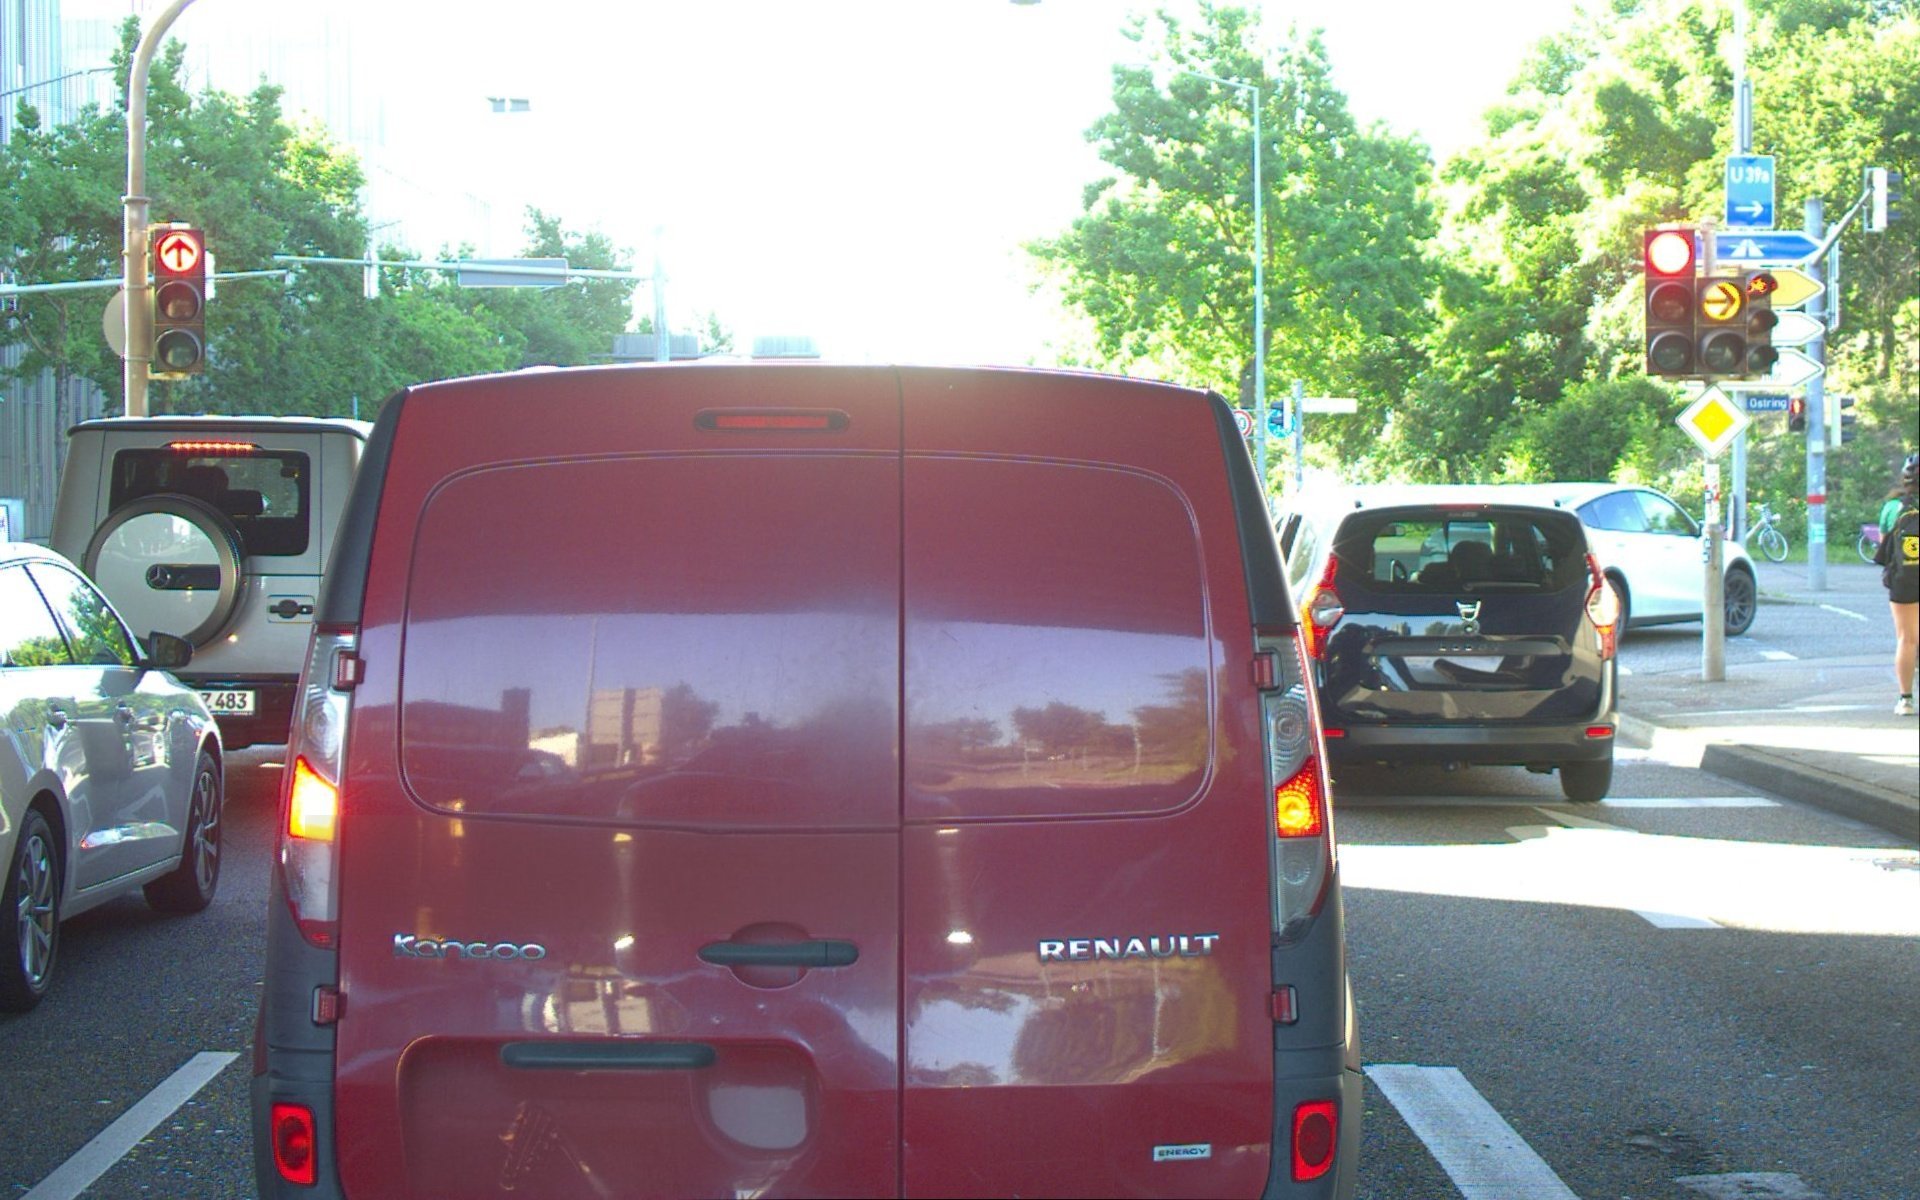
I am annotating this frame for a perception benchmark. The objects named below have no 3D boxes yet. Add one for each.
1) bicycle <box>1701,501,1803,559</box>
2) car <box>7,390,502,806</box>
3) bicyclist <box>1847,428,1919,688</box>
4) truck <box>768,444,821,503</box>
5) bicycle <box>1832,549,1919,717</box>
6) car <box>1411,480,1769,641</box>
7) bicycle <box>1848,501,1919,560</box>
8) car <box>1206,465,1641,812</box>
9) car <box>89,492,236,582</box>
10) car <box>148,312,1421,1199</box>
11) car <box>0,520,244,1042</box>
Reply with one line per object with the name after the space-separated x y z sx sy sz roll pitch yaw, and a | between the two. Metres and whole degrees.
14.356 -1.268 62.374 1.745 1.020 0.593 1 0 9 | bicycle
-3.707 -0.033 18.873 1.801 1.982 4.589 1 1 -1 | car
6.044 -0.263 21.751 0.591 1.608 0.942 1 0 -1 | bicyclist
-8.971 -6.874 187.378 2.409 3.016 6.657 -2 2 0 | truck
6.053 0.197 21.760 0.591 1.020 1.750 1 1 -1 | bicycle
6.505 -0.417 35.209 1.885 1.538 4.184 1 1 38 | car
16.666 -1.221 60.912 1.745 1.020 0.593 1 0 9 | bicycle
2.418 0.152 18.851 1.719 1.700 3.982 0 1 -2 | car
-16.566 -1.340 71.622 1.825 1.731 4.629 -2 2 1 | car
-0.277 0.475 6.922 1.805 1.788 4.000 1 1 -1 | car
-3.643 0.469 11.406 1.813 1.433 3.731 0 2 -1 | car
